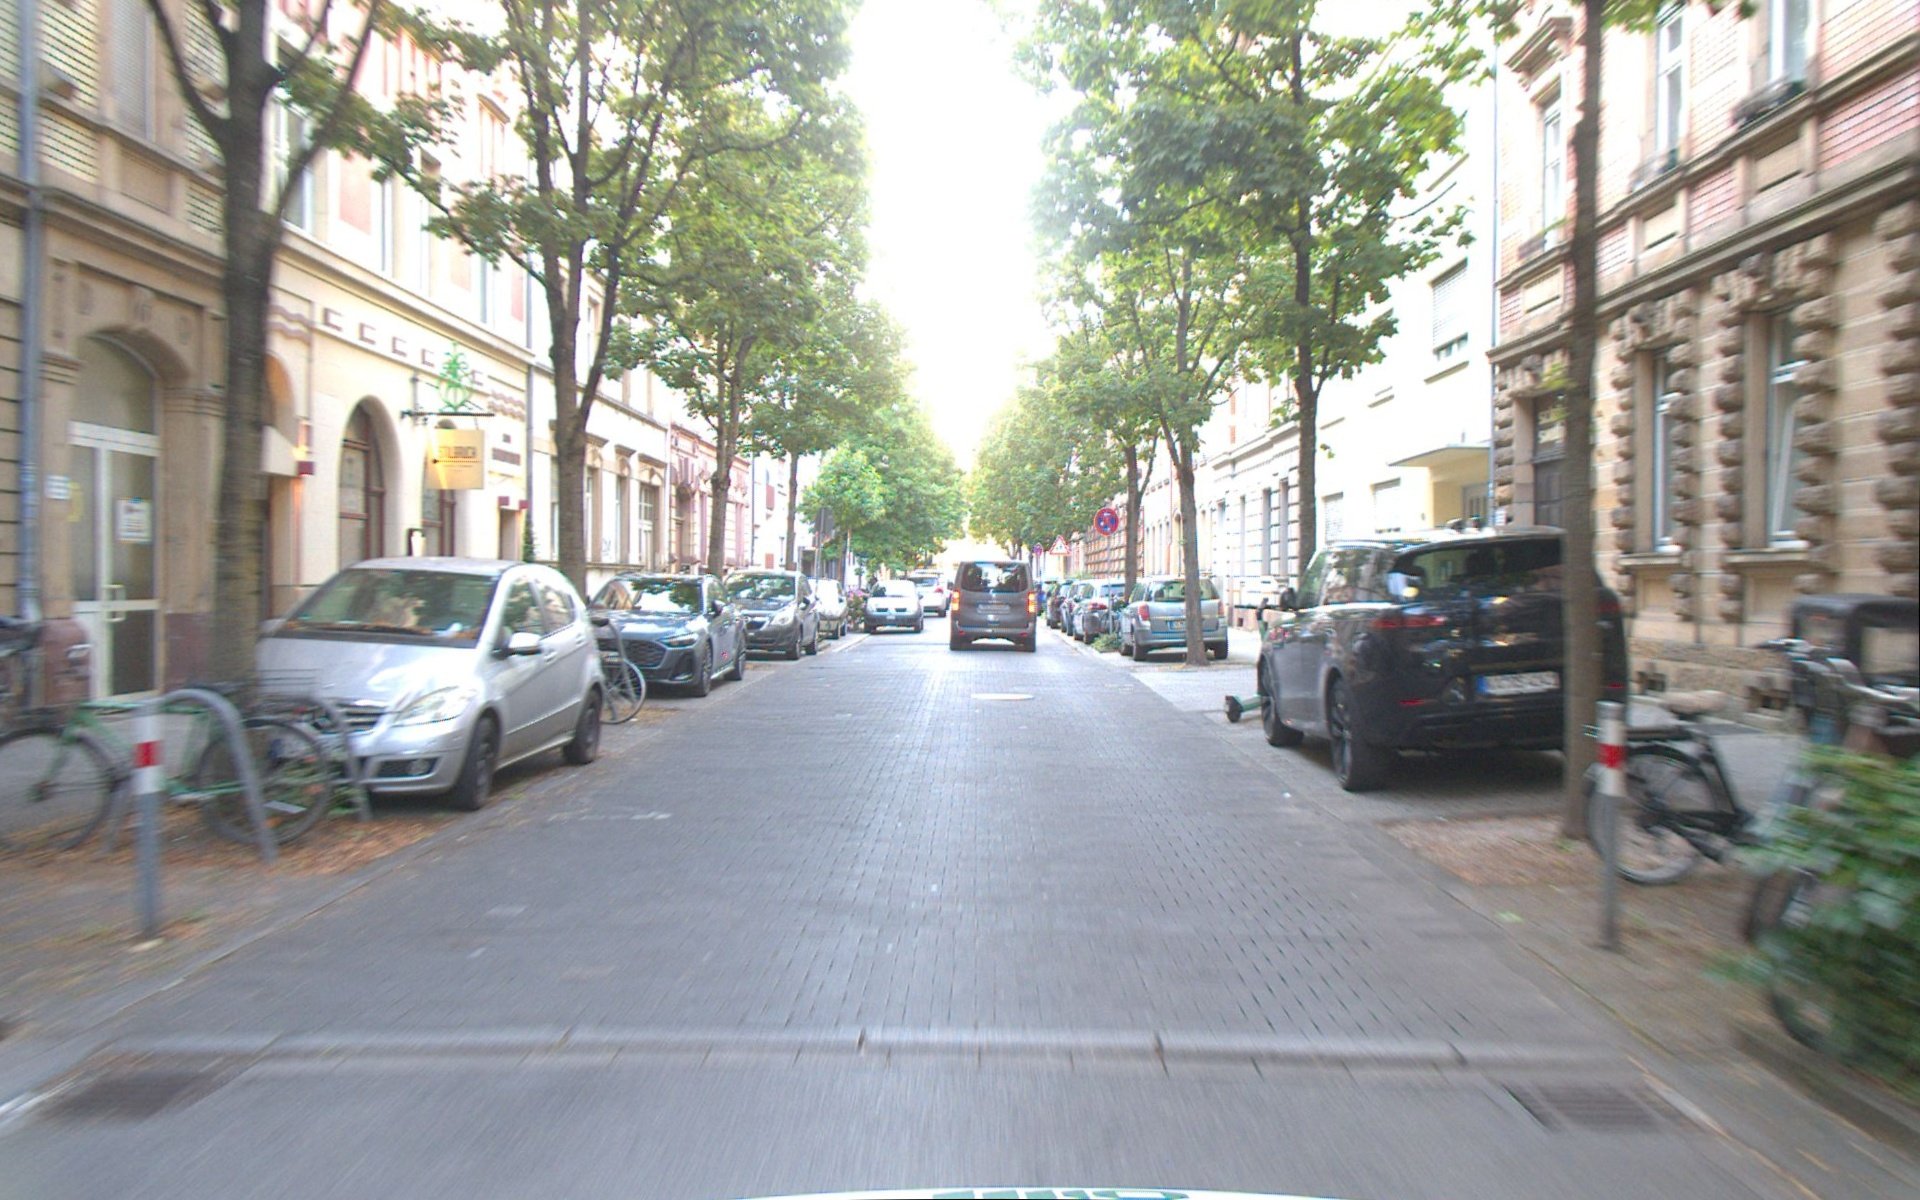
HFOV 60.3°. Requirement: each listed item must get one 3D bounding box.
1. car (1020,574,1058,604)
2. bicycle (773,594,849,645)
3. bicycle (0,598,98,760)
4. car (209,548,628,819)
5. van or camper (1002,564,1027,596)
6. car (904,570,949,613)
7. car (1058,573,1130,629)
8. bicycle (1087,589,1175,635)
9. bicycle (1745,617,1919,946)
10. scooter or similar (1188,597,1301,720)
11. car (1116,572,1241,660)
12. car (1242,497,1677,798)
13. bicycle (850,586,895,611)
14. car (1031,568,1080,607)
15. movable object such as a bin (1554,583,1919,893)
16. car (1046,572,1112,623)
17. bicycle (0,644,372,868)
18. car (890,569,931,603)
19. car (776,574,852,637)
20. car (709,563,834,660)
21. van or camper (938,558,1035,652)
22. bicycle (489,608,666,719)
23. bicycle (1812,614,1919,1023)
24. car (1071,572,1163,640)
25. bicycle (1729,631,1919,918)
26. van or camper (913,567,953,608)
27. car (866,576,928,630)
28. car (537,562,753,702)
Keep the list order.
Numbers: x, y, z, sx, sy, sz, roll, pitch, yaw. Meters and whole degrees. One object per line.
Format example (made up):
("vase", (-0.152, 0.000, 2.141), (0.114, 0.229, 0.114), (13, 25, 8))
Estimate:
("car", (3.945, -0.568, 82.695), (1.659, 1.425, 4.646), (-1, 1, 0))
("bicycle", (-3.350, 0.435, 37.074), (1.797, 1.104, 0.664), (1, 0, 44))
("bicycle", (-7.114, 0.576, 12.322), (0.452, 1.108, 1.630), (3, 2, 2))
("car", (-3.727, 0.477, 12.107), (1.641, 1.635, 3.863), (1, 1, 2))
("van or camper", (4.657, -1.731, 141.950), (1.953, 2.644, 5.424), (0, 1, -1))
("car", (-1.316, -0.355, 63.829), (1.630, 1.590, 3.998), (-1, 1, -3))
("car", (3.636, 0.008, 45.338), (1.602, 1.449, 3.564), (-1, 1, -1))
("bicycle", (3.810, 0.262, 36.829), (1.888, 0.999, 0.634), (0, 1, -21))
("bicycle", (4.049, 0.686, 6.487), (1.661, 1.219, 0.583), (0, 1, 4))
("scooter or similar", (2.989, 0.598, 17.344), (0.663, 1.211, 1.110), (-2, 0, 40))
("car", (3.958, 0.233, 30.592), (1.722, 1.488, 4.308), (-1, 1, 0))
("car", (3.646, 0.269, 13.107), (1.972, 1.865, 4.811), (-2, 1, 1))
("bicycle", (-3.290, -0.039, 62.313), (1.680, 0.923, 0.380), (0, 0, -30))
("car", (3.756, -0.513, 65.356), (1.594, 1.492, 4.245), (-1, 1, -1))
("movable object such as a bin", (4.118, 0.624, 7.982), (2.169, 1.328, 0.771), (-3, 1, 3))
("car", (3.579, -0.107, 50.388), (1.730, 1.439, 4.474), (-2, 1, 1))
("bicycle", (-4.094, 0.798, 8.705), (1.835, 1.078, 0.593), (1, 0, -19))
("car", (-2.640, -0.756, 88.611), (1.952, 1.675, 4.922), (2, 1, 0))
("car", (-3.643, 0.103, 41.704), (1.554, 1.462, 3.566), (2, 1, 0))
("car", (-3.361, 0.149, 30.138), (1.671, 1.608, 4.079), (2, 1, 1))
("van or camper", (0.637, 0.077, 36.259), (1.993, 1.930, 4.272), (0, 1, 2))
("bicycle", (-3.869, 0.637, 16.769), (1.649, 1.020, 0.430), (3, 1, 2))
("bicycle", (4.006, 0.697, 5.670), (1.725, 1.316, 0.802), (-2, 1, 0))
("car", (3.702, 0.099, 39.728), (1.682, 1.502, 4.367), (-2, 1, -1))
("bicycle", (4.254, 0.728, 7.112), (1.623, 1.163, 0.583), (0, 1, 4))
("van or camper", (-1.302, -0.633, 79.092), (1.838, 1.875, 4.752), (-1, 1, -1))
("car", (-1.739, 0.052, 46.501), (1.547, 1.444, 3.753), (-1, 1, 0))
("car", (-3.849, 0.327, 21.011), (1.769, 1.544, 4.686), (1, 1, 0))
